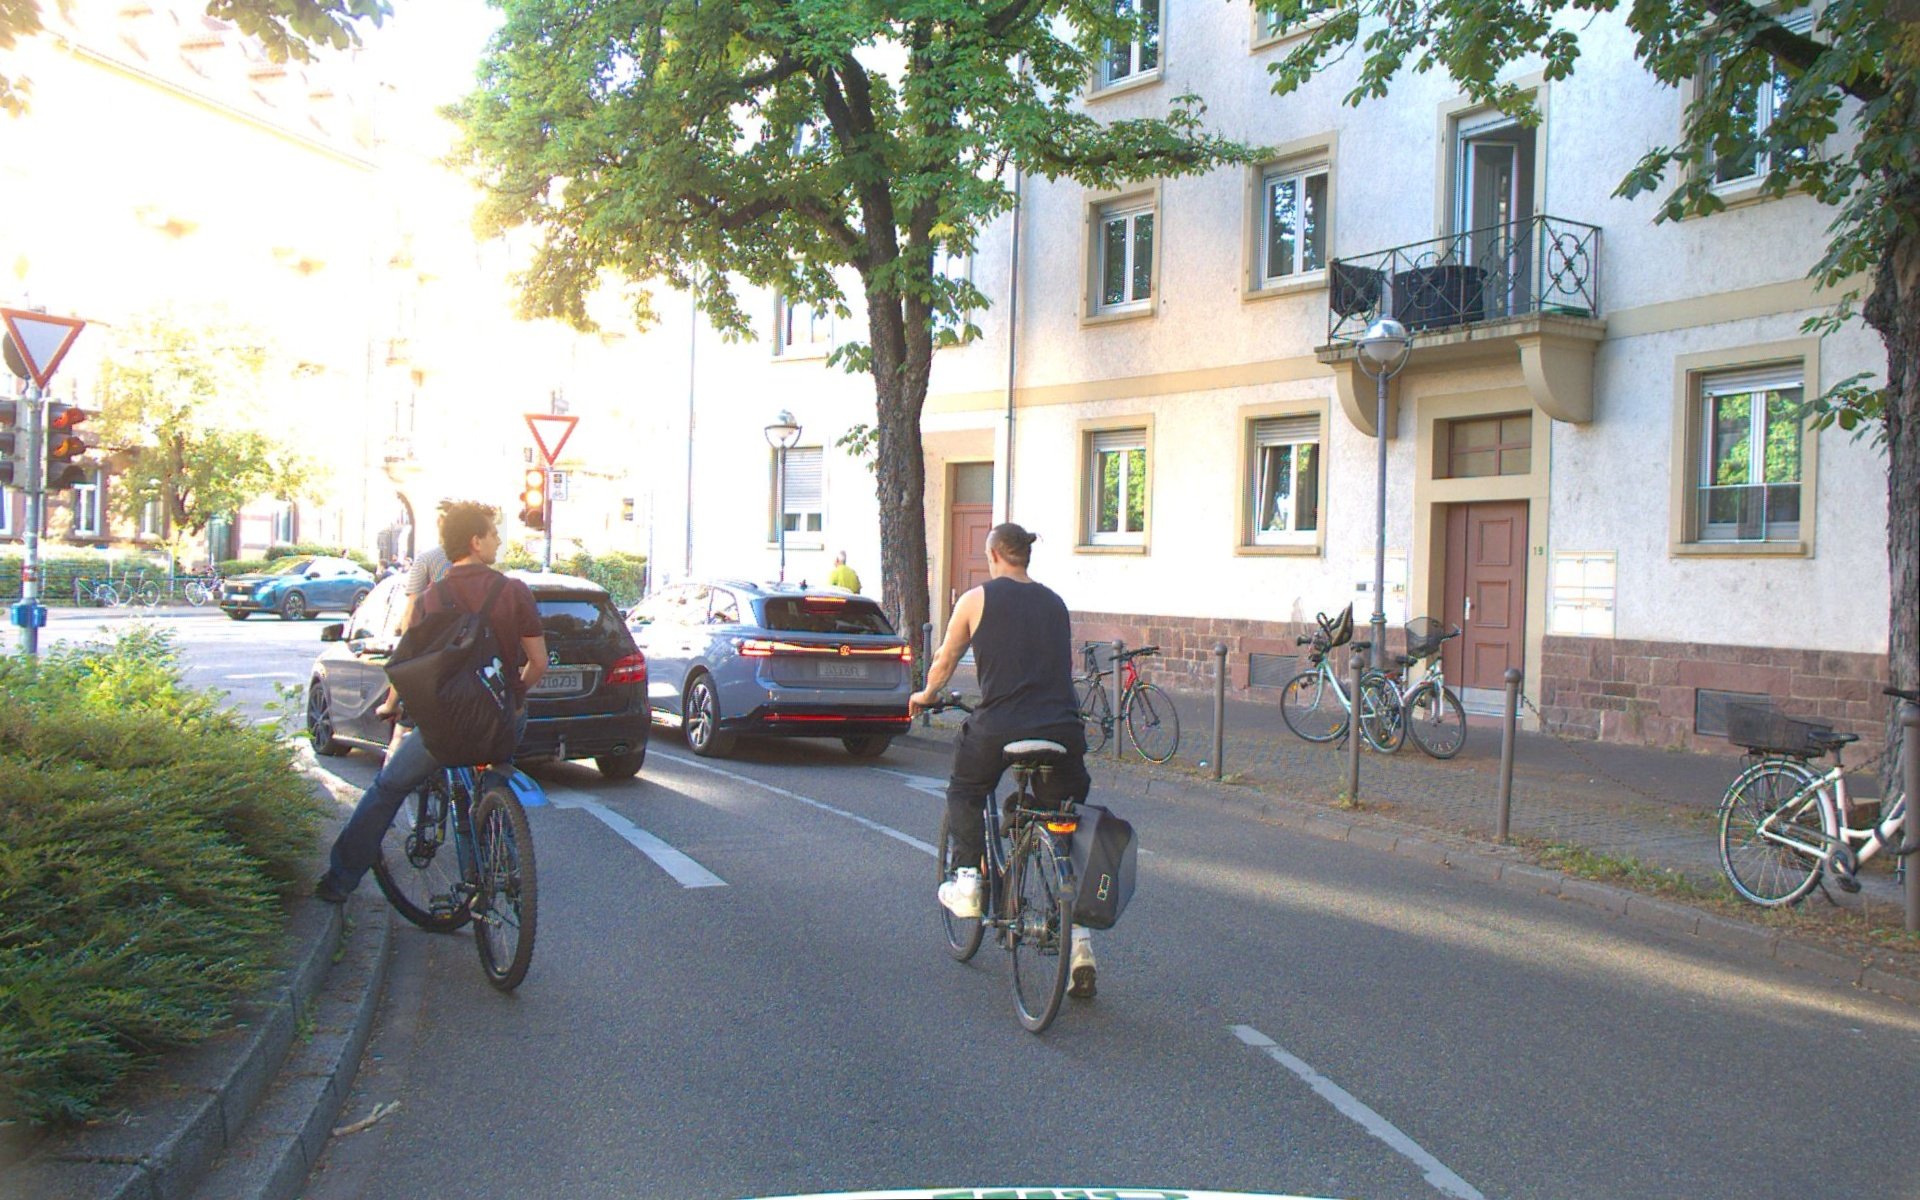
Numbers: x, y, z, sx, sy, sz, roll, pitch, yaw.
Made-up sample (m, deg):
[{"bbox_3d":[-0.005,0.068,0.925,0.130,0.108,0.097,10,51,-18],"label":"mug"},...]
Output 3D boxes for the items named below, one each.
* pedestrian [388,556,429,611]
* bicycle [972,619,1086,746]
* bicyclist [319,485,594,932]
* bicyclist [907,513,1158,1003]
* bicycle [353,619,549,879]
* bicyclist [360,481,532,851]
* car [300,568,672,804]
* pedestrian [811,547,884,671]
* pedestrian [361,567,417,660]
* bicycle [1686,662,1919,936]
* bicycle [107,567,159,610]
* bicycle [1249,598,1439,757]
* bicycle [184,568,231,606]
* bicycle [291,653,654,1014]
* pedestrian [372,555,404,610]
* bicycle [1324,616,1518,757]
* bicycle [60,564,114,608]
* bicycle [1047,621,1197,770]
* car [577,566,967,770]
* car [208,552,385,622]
[{"bbox_3d":[-17.564,-0.510,52.690,0.698,1.693,0.895,5,2,33],"label":"pedestrian"},{"bbox_3d":[0.641,0.768,15.998,0.474,1.082,1.625,-1,2,-22],"label":"bicycle"},{"bbox_3d":[-1.992,0.383,6.505,0.702,1.601,0.944,2,0,-38],"label":"bicyclist"},{"bbox_3d":[0.245,0.537,6.260,0.675,1.685,0.985,0,1,-15],"label":"bicyclist"},{"bbox_3d":[-2.902,0.749,9.265,0.799,1.205,2.211,2,1,-23],"label":"bicycle"},{"bbox_3d":[-2.903,0.348,9.288,0.783,1.946,0.938,2,0,-23],"label":"bicyclist"},{"bbox_3d":[-3.891,0.538,13.159,1.774,1.569,3.814,-1,1,-34],"label":"car"},{"bbox_3d":[-1.638,0.107,24.056,0.639,1.757,0.875,-2,2,-42],"label":"pedestrian"},{"bbox_3d":[-10.734,0.243,31.080,0.889,1.663,0.721,3,1,-21],"label":"pedestrian"},{"bbox_3d":[4.286,0.898,7.635,0.505,1.114,1.962,0,1,-20],"label":"bicycle"},{"bbox_3d":[-22.359,-0.319,44.731,0.433,1.126,1.233,3,1,22],"label":"bicycle"},{"bbox_3d":[3.423,0.648,14.924,0.707,1.299,1.955,0,1,-21],"label":"bicycle"},{"bbox_3d":[-21.456,-0.373,47.177,0.433,1.056,1.233,3,1,21],"label":"bicycle"},{"bbox_3d":[-2.011,0.827,6.623,0.712,1.126,1.940,2,0,-38],"label":"bicycle"},{"bbox_3d":[-18.388,-0.568,53.167,0.649,1.745,0.635,2,0,29],"label":"pedestrian"},{"bbox_3d":[4.120,0.749,14.952,0.657,1.126,1.956,2,0,-19],"label":"bicycle"},{"bbox_3d":[-22.915,-0.360,43.418,0.433,1.126,1.233,3,1,22],"label":"bicycle"},{"bbox_3d":[1.382,0.793,14.407,0.519,1.126,1.728,-1,2,-24],"label":"bicycle"},{"bbox_3d":[-1.949,0.561,15.749,1.951,1.613,4.427,4,-1,-32],"label":"car"},{"bbox_3d":[-17.142,-0.321,42.968,1.901,1.678,4.413,2,0,17],"label":"car"}]
